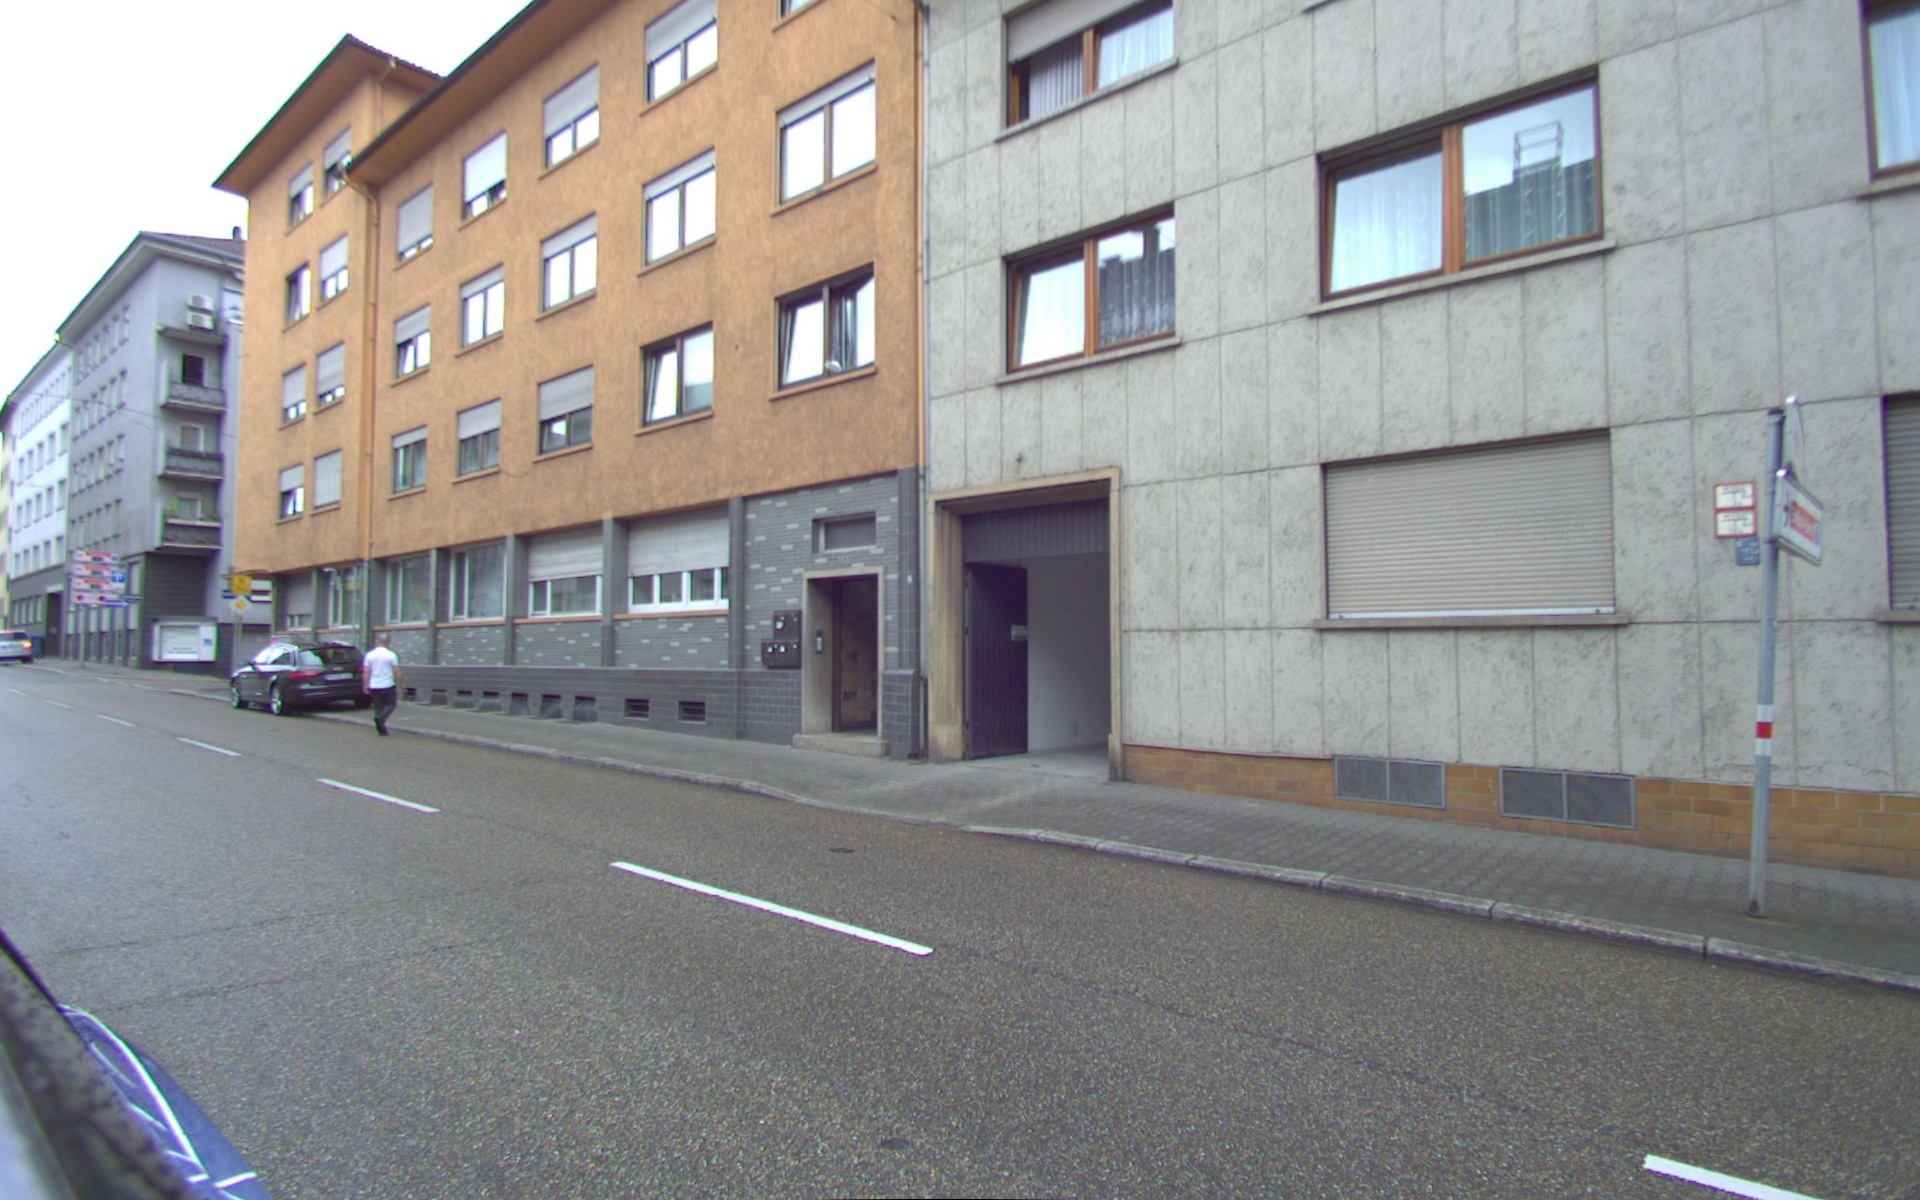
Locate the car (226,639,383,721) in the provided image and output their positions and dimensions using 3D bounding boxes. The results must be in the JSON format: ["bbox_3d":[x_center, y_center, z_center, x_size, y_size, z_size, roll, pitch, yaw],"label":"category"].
[{"bbox_3d":[-14.267,1.650,21.952,4.216,1.485,1.776,-1,0,41],"label":"car"}]

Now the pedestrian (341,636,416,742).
[{"bbox_3d":[-9.640,1.450,16.813,0.756,1.652,1.025,-1,0,-10],"label":"pedestrian"}]

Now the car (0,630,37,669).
[{"bbox_3d":[-46.493,2.384,49.288,4.216,1.735,1.832,-1,0,41],"label":"car"}]
